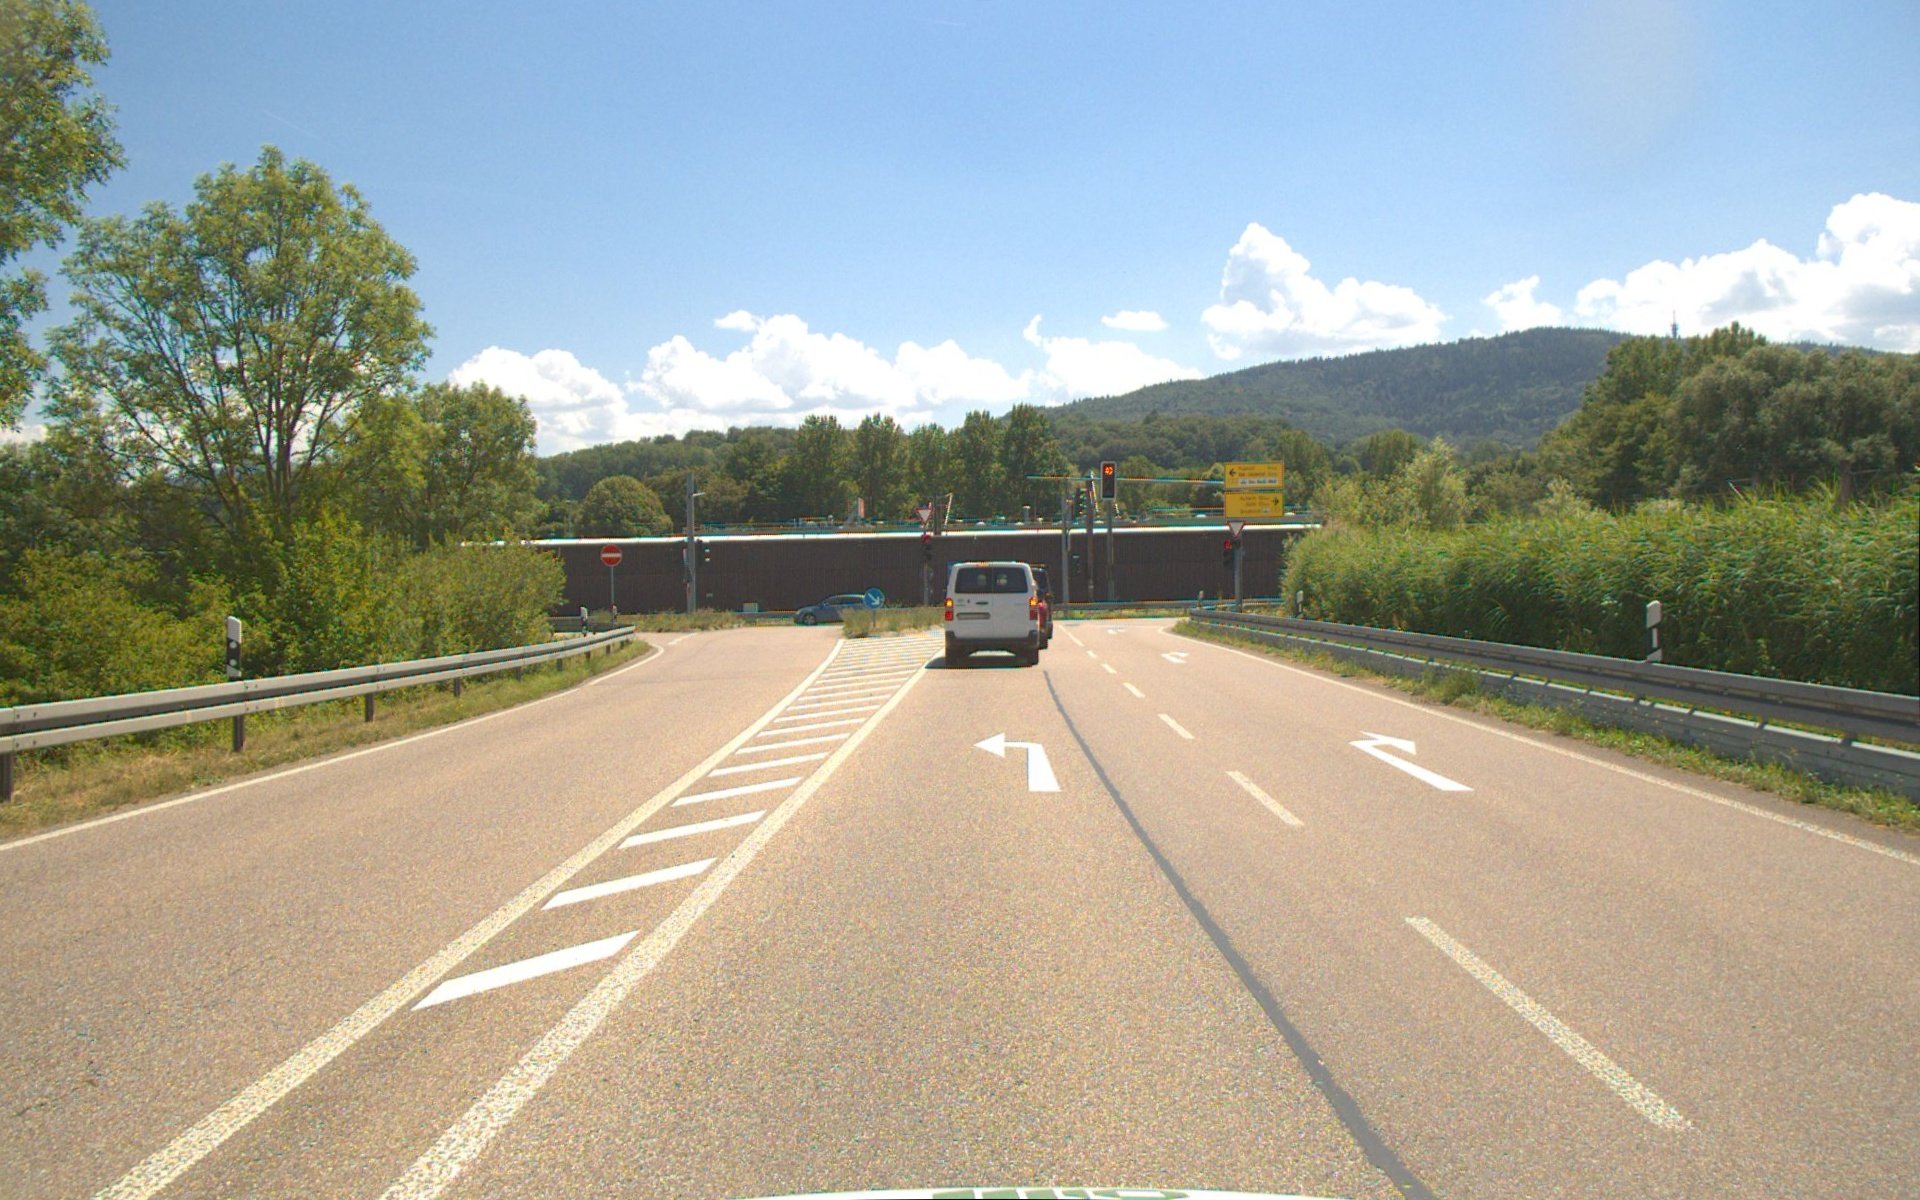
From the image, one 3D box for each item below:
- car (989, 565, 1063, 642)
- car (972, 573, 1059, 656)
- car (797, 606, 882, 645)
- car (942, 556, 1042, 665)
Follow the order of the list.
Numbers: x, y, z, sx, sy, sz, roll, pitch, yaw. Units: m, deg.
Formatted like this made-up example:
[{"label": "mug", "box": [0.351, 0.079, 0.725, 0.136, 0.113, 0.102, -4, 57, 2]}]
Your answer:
[{"label": "car", "box": [1.893, 0.093, 47.582, 1.952, 2.048, 4.001, -3, 0, 2]}, {"label": "car", "box": [1.352, 0.324, 40.535, 1.952, 1.843, 4.001, -3, 0, 2]}, {"label": "car", "box": [-5.812, 1.208, 80.105, 3.905, 1.800, 2.000, -1, 0, 0]}, {"label": "car", "box": [0.647, 0.187, 32.783, 1.831, 1.999, 4.001, -1, 0, 1]}]
